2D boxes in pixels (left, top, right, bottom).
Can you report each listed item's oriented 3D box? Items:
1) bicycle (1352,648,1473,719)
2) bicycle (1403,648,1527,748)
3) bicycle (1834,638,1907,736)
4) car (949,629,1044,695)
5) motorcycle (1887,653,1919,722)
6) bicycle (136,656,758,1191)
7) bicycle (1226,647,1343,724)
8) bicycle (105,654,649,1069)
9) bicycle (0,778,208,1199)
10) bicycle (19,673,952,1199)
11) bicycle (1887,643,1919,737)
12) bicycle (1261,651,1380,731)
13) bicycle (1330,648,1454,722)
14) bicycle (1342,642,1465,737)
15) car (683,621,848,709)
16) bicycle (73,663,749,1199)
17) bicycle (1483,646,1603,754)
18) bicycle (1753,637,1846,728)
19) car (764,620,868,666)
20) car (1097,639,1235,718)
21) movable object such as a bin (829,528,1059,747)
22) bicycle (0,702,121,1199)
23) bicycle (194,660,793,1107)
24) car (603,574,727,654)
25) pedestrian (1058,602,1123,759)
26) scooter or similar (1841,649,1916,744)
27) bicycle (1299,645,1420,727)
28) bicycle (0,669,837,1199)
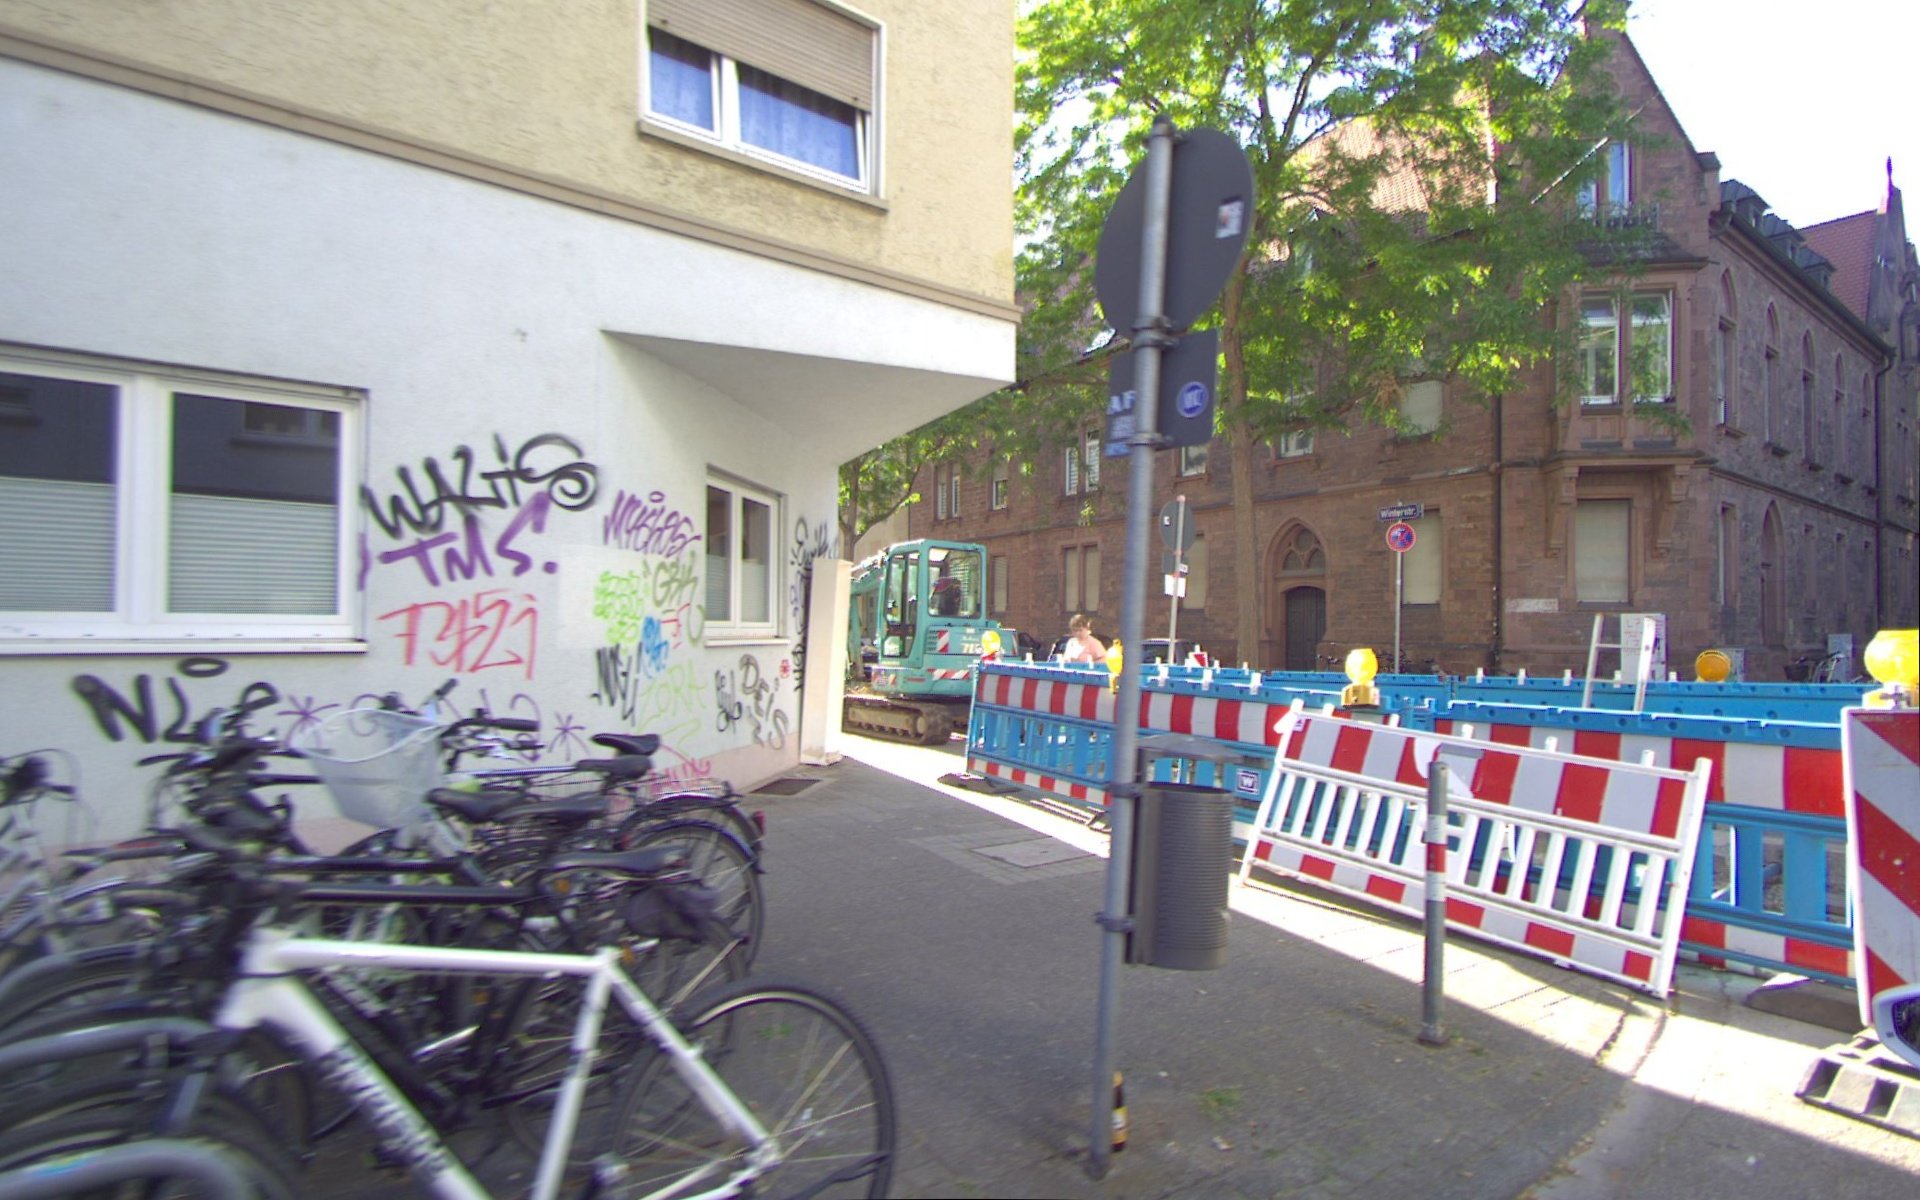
[{"bbox_3d":[8.266,1.500,18.429,0.678,1.195,1.949,0,-1,-36],"label":"bicycle"},{"bbox_3d":[7.692,1.431,15.238,2.422,1.338,0.678,0,-1,-37],"label":"bicycle"},{"bbox_3d":[14.474,1.330,16.011,0.565,1.442,2.494,-1,-2,36],"label":"bicycle"},{"bbox_3d":[1.061,1.598,26.812,1.823,1.614,4.003,0,-2,13],"label":"car"},{"bbox_3d":[17.428,1.558,17.538,0.653,1.223,2.313,0,-2,10],"label":"motorcycle"},{"bbox_3d":[-1.462,0.831,3.121,1.685,1.243,0.292,0,-1,-39],"label":"bicycle"},{"bbox_3d":[5.737,1.473,17.674,2.422,1.195,0.678,0,-1,-37],"label":"bicycle"},{"bbox_3d":[-2.169,0.871,3.942,1.802,1.243,0.396,0,-1,-42],"label":"bicycle"},{"bbox_3d":[-1.918,0.886,1.162,1.650,1.155,0.422,2,1,-37],"label":"bicycle"},{"bbox_3d":[-0.726,0.801,1.891,1.492,1.243,0.396,0,-1,-40],"label":"bicycle"},{"bbox_3d":[14.883,1.343,15.400,0.674,1.362,2.494,-1,-2,36],"label":"bicycle"},{"bbox_3d":[6.162,1.516,17.106,2.422,1.195,0.678,0,-1,-37],"label":"bicycle"},{"bbox_3d":[7.681,1.482,17.960,0.678,1.195,1.948,0,-1,-37],"label":"bicycle"},{"bbox_3d":[7.064,1.378,15.940,2.422,1.338,0.678,0,-1,-37],"label":"bicycle"},{"bbox_3d":[-4.066,1.289,20.464,1.889,1.587,4.167,4,-4,-32],"label":"car"},{"bbox_3d":[-1.360,0.829,2.721,1.540,1.243,0.360,0,-1,-40],"label":"bicycle"},{"bbox_3d":[8.183,1.351,14.064,2.123,1.338,0.678,0,-1,-37],"label":"bicycle"},{"bbox_3d":[14.388,1.363,17.183,2.774,1.442,0.677,2,-2,-39],"label":"bicycle"},{"bbox_3d":[-5.132,1.542,36.358,1.825,1.588,3.997,-1,-2,25],"label":"car"},{"bbox_3d":[4.527,1.589,21.593,1.826,1.503,4.266,-1,-2,27],"label":"car"},{"bbox_3d":[-0.283,0.508,13.828,2.048,2.635,2.736,1,-2,-33],"label":"movable object such as a bin"},{"bbox_3d":[-2.971,0.849,2.072,1.858,1.170,0.541,2,-3,-43],"label":"bicycle"},{"bbox_3d":[-1.622,0.893,3.798,2.012,1.243,0.396,0,-1,-39],"label":"bicycle"},{"bbox_3d":[-8.038,0.442,27.097,1.979,1.965,4.571,2,-3,-33],"label":"car"},{"bbox_3d":[1.513,0.921,11.675,0.554,1.763,0.519,2,-2,-42],"label":"pedestrian"},{"bbox_3d":[13.246,1.363,14.482,1.287,1.294,0.526,2,-2,-35],"label":"scooter or similar"},{"bbox_3d":[6.607,1.373,16.558,2.422,1.195,0.678,0,-1,-37],"label":"bicycle"},{"bbox_3d":[-1.181,0.826,2.279,1.858,1.243,0.396,0,-1,-40],"label":"bicycle"}]
